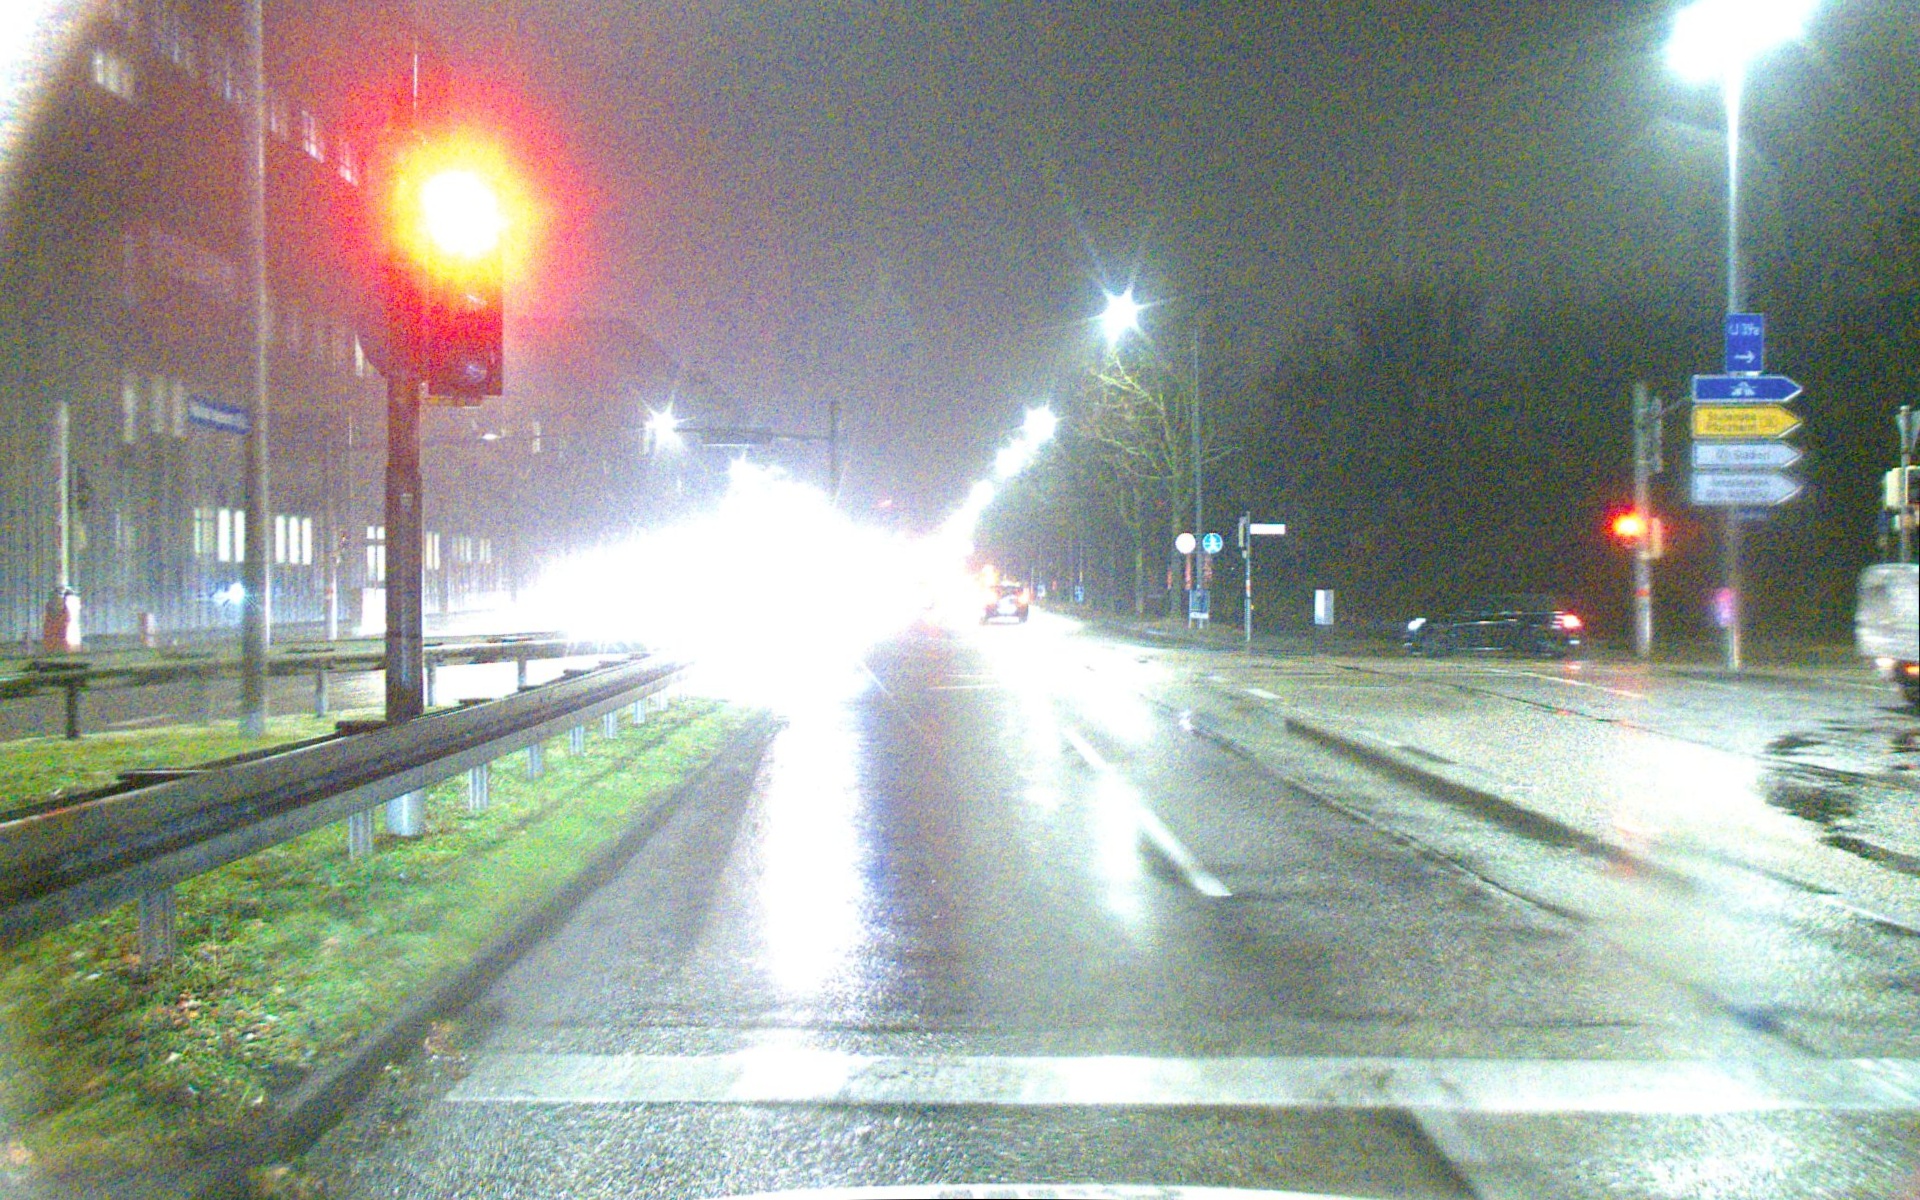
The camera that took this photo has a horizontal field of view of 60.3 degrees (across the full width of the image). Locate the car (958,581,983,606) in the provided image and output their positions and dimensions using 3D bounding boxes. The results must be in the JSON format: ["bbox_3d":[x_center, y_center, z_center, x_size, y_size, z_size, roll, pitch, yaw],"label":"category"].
[{"bbox_3d":[0.905,-0.516,140.567,1.996,2.049,4.307,0,0,1],"label":"car"}]

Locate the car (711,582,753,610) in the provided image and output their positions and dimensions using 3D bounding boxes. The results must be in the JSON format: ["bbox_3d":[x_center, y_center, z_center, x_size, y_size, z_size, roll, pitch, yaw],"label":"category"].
[{"bbox_3d":[-13.350,-0.200,97.043,1.847,1.579,4.432,0,0,-1],"label":"car"}]

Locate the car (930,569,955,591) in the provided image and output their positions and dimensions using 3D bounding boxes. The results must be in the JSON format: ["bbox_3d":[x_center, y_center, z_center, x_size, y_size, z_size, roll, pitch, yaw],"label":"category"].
[{"bbox_3d":[-1.873,-2.168,177.952,2.393,2.232,5.075,0,0,-4],"label":"car"}]

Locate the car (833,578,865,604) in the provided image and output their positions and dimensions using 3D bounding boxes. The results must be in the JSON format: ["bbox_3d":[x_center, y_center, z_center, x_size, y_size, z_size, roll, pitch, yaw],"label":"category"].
[{"bbox_3d":[-7.061,-0.571,105.589,1.847,1.579,4.432,0,0,-1],"label":"car"}]

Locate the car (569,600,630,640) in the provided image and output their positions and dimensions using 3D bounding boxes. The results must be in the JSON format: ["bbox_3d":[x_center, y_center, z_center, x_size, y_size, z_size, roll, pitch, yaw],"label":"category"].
[{"bbox_3d":[-15.117,0.833,69.543,1.764,1.591,3.999,0,0,-1],"label":"car"}]

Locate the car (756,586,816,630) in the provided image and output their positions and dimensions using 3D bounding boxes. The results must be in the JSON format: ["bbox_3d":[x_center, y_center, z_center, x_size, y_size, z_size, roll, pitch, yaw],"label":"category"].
[{"bbox_3d":[-6.760,0.313,64.668,1.953,1.638,4.968,0,0,-2],"label":"car"}]

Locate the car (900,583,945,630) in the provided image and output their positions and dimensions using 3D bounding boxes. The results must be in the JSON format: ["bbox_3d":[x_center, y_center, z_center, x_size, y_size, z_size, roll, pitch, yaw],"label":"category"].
[{"bbox_3d":[-1.685,0.289,74.630,1.953,2.049,3.999,0,0,-1],"label":"car"}]

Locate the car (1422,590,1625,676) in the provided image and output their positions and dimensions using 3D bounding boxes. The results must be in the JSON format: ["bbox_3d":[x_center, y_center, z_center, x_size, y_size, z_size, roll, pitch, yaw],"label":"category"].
[{"bbox_3d":[12.309,0.705,36.352,3.902,1.811,1.910,0,-1,6],"label":"car"}]

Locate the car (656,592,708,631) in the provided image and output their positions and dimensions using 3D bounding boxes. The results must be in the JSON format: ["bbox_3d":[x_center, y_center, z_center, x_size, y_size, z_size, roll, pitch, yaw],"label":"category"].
[{"bbox_3d":[-12.902,0.533,76.966,1.714,1.738,4.497,-1,0,-1],"label":"car"}]

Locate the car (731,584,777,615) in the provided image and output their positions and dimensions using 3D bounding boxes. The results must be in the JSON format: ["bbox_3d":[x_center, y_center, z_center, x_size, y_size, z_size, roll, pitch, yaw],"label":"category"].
[{"bbox_3d":[-10.572,-0.003,84.993,1.847,1.579,4.432,0,0,-1],"label":"car"}]

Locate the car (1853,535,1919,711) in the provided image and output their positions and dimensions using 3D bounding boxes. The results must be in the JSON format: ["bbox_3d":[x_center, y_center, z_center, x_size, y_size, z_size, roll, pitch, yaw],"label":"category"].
[{"bbox_3d":[12.994,0.282,19.996,3.482,2.049,1.704,0,-1,3],"label":"car"}]

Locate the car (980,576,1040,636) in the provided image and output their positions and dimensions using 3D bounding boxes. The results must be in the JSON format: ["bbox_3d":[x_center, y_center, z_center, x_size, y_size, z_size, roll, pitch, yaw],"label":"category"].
[{"bbox_3d":[1.888,0.225,64.029,2.163,2.253,3.642,0,-1,-1],"label":"car"}]
